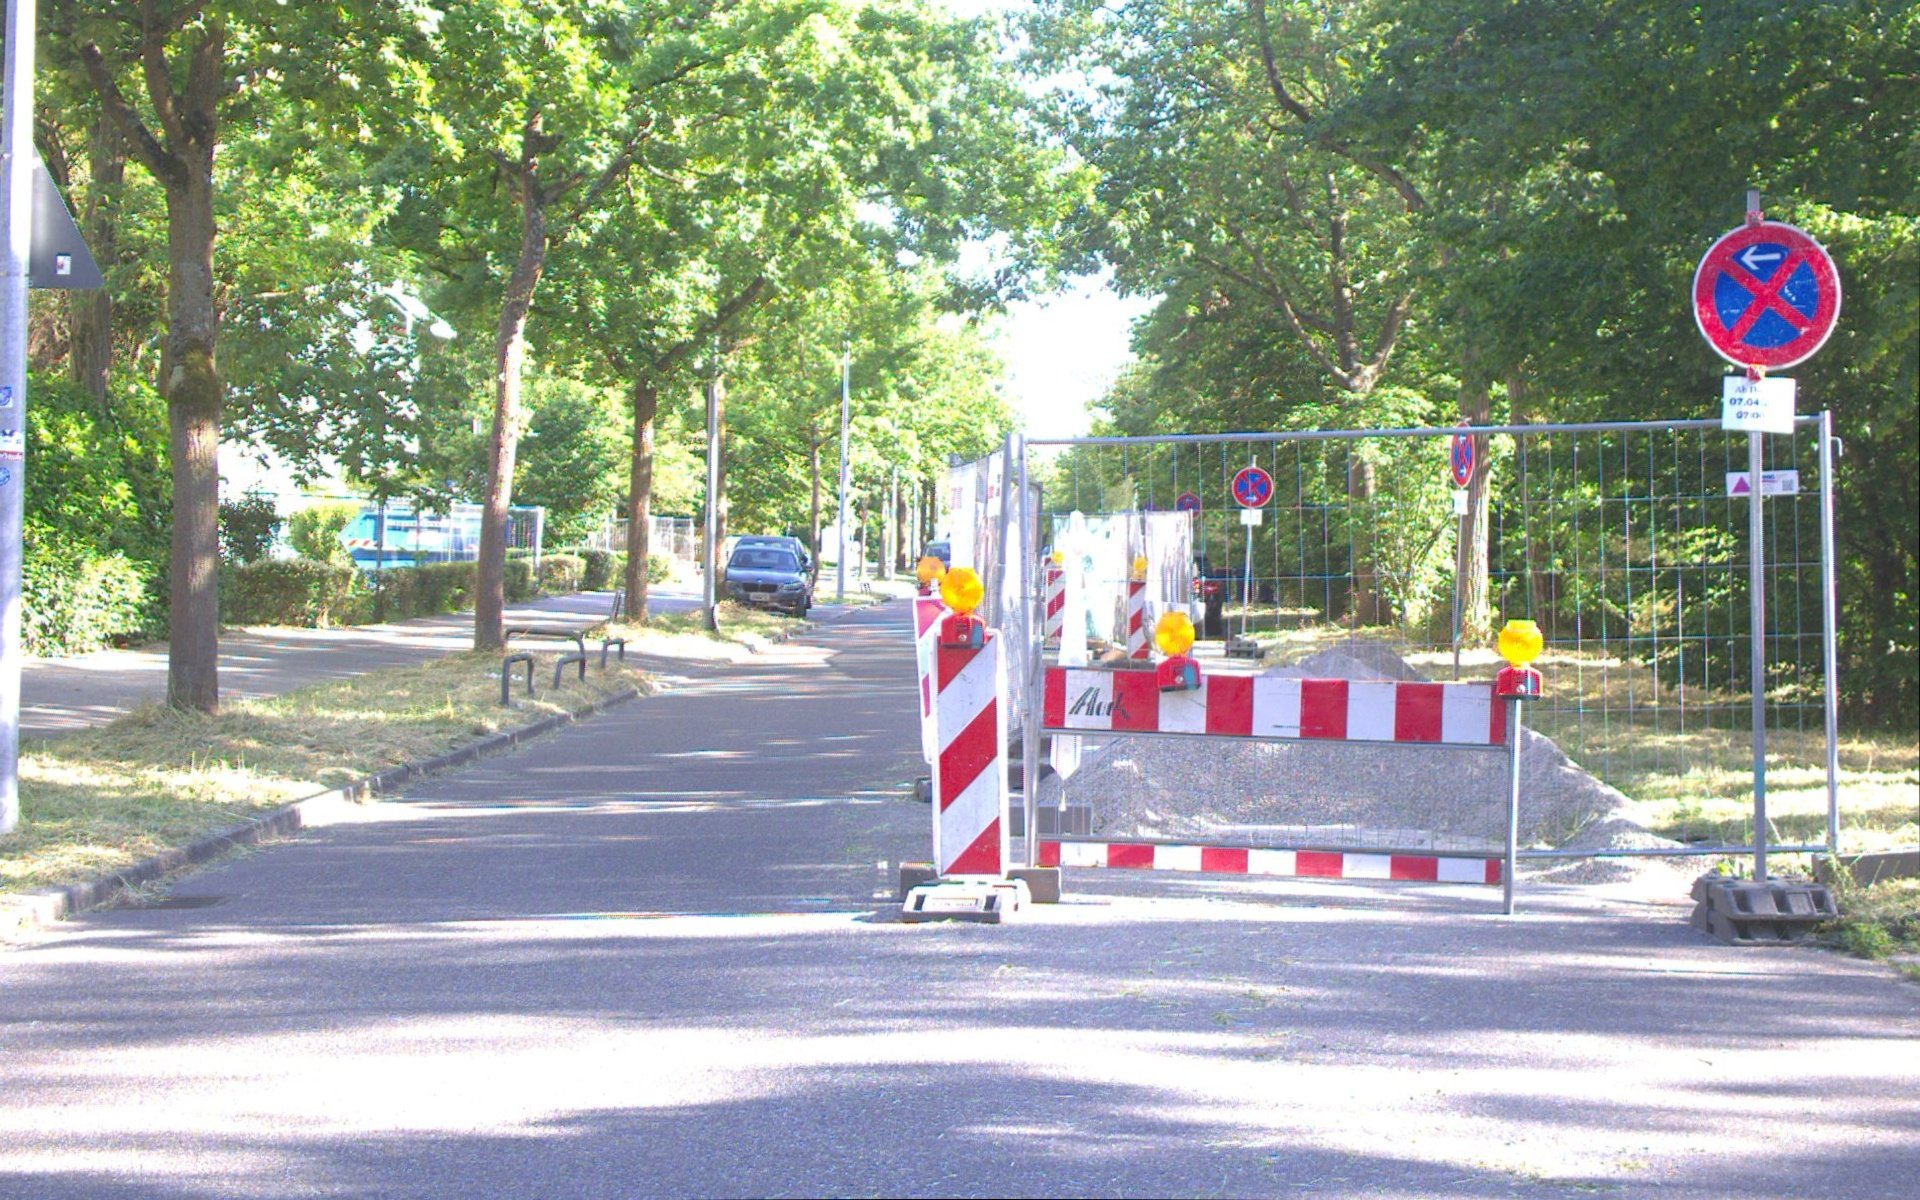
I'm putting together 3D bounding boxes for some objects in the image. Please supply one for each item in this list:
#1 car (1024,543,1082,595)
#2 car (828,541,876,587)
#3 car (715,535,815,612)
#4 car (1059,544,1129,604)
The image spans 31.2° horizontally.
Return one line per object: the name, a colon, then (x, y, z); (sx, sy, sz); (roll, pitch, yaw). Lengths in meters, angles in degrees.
car: (2.463, -0.817, 91.546); (1.361, 1.298, 3.481); (2, 0, -1)
car: (-3.251, -1.082, 104.263); (1.361, 1.298, 3.481); (2, 0, -1)
car: (-3.895, -0.557, 69.124); (1.751, 1.473, 3.836); (1, 1, 0)
car: (3.053, -0.596, 78.558); (1.361, 1.298, 3.481); (2, 0, -1)
